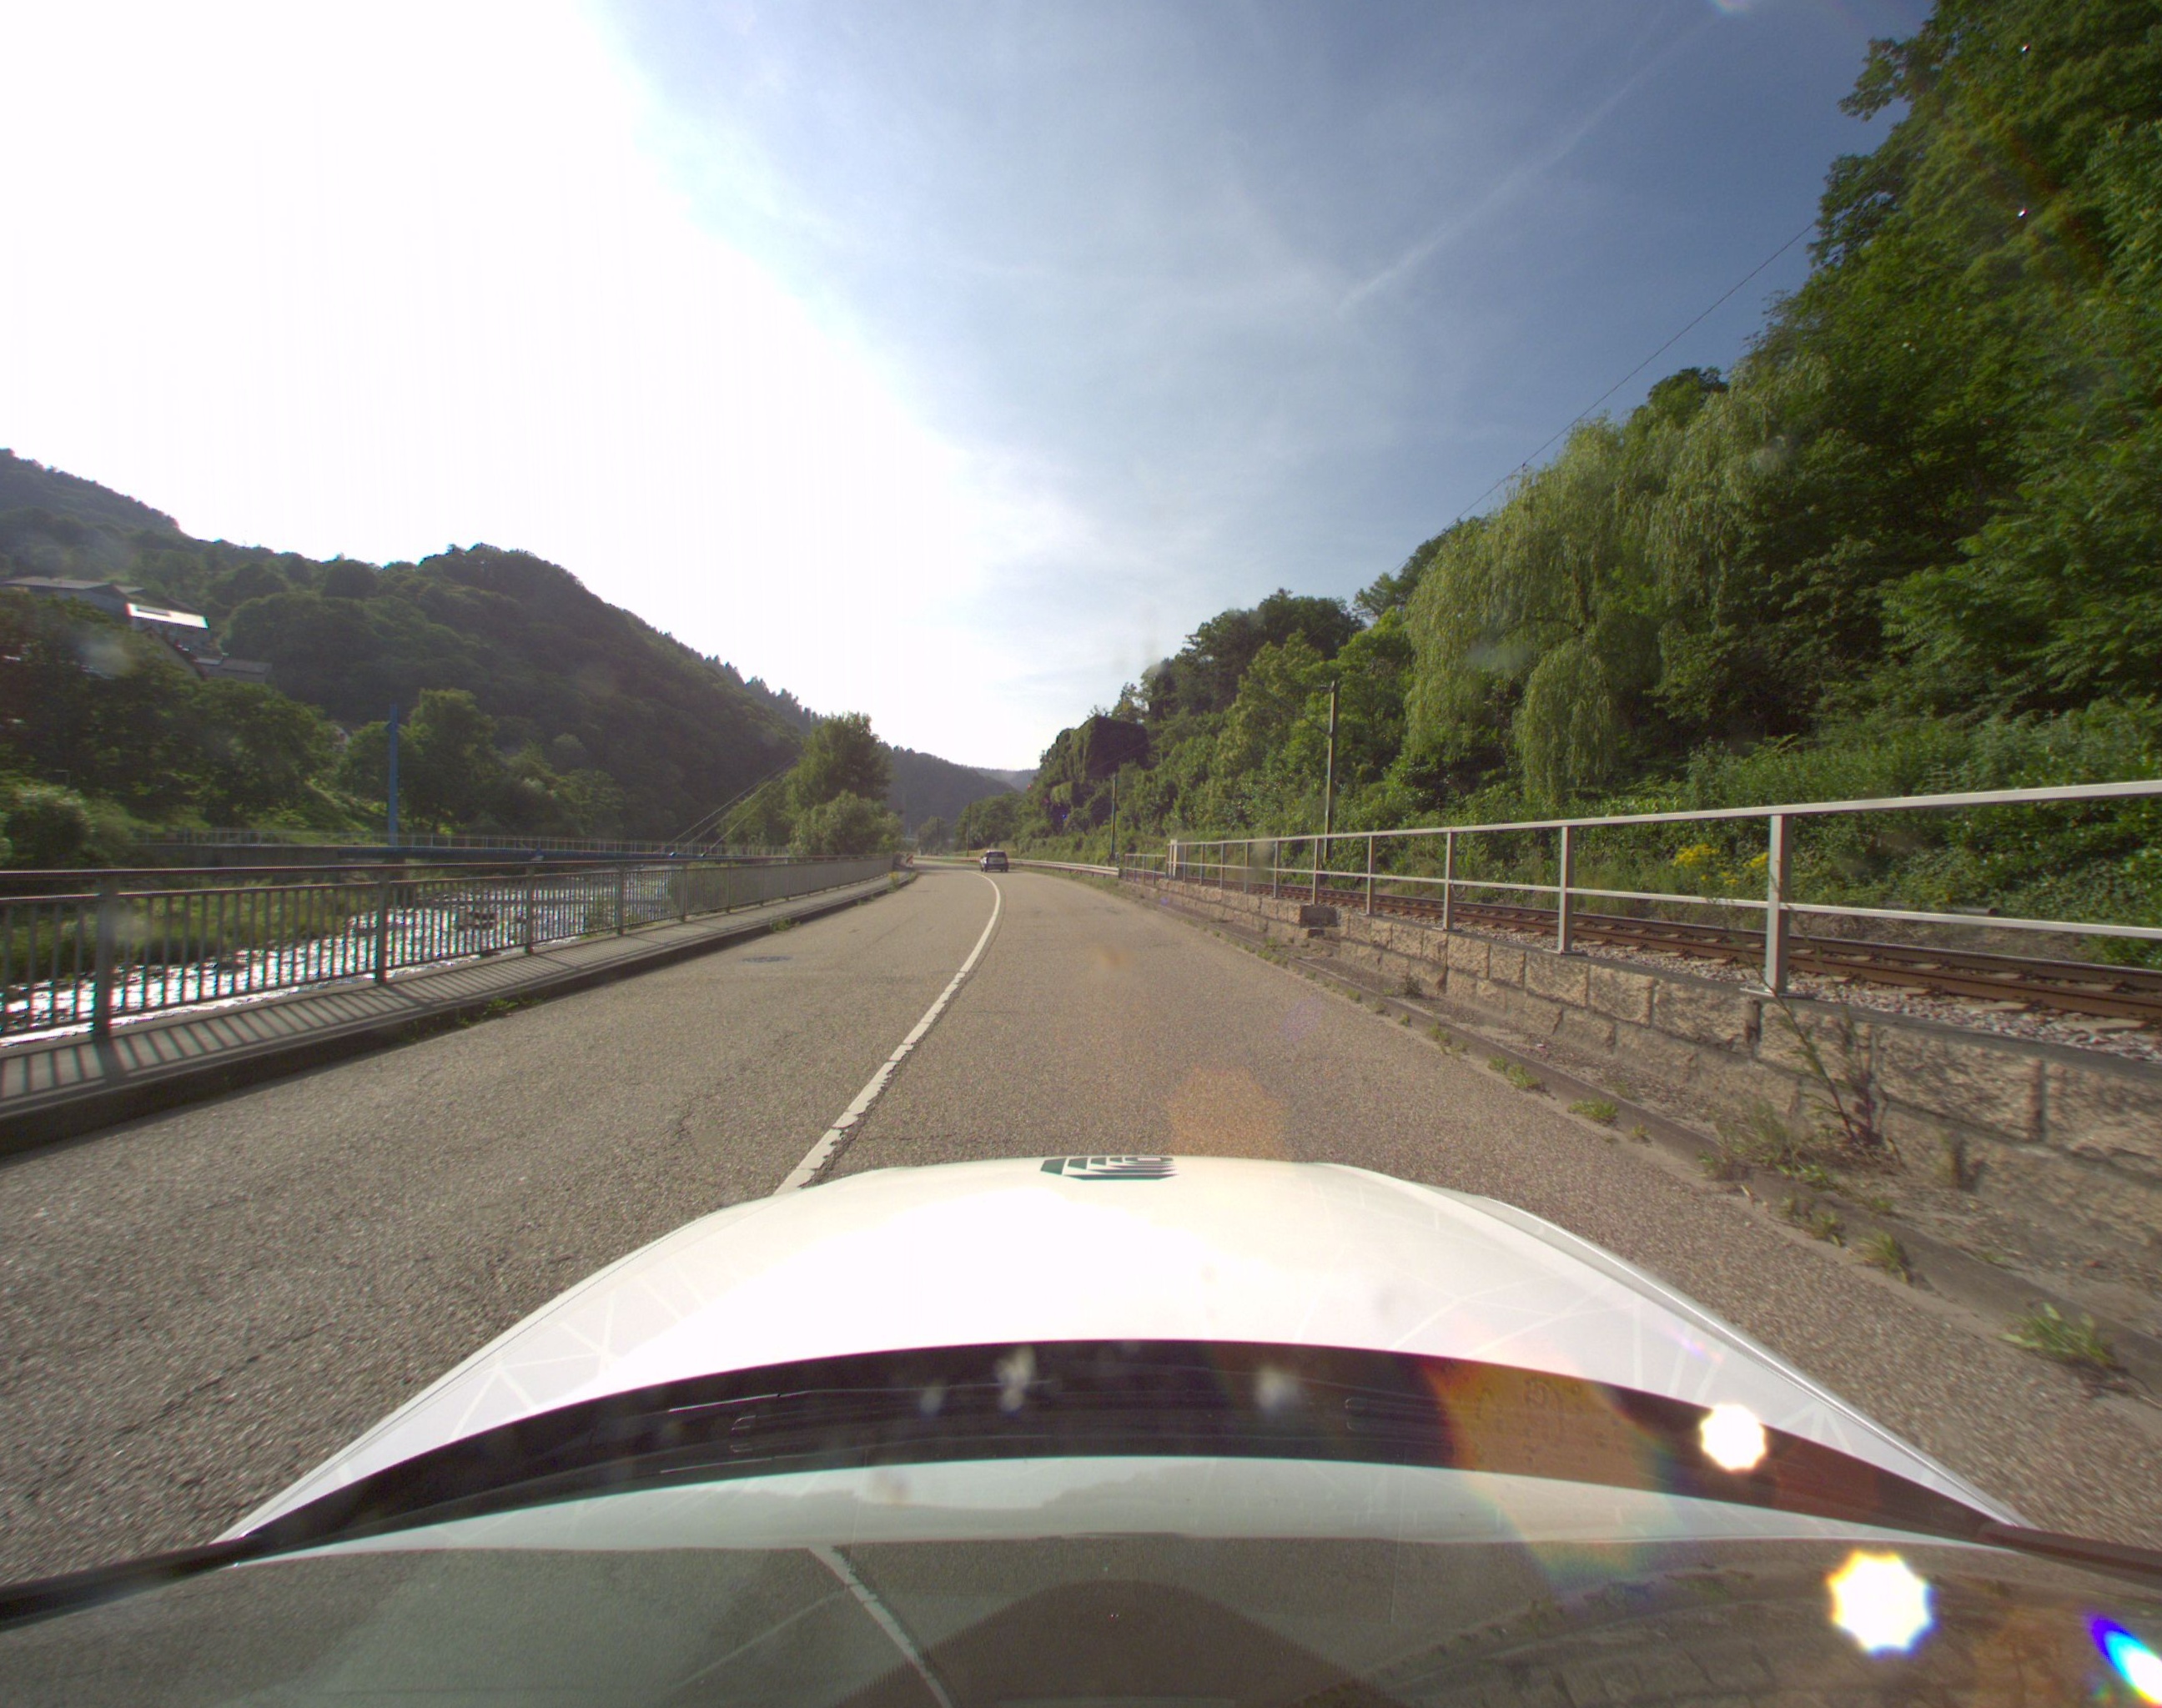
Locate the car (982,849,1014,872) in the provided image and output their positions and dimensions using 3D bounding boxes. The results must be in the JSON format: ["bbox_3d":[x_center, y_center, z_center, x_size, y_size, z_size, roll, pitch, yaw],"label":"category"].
[{"bbox_3d":[-6.309,0.461,61.750,1.875,1.656,3.981,0,0,-14],"label":"car"}]
